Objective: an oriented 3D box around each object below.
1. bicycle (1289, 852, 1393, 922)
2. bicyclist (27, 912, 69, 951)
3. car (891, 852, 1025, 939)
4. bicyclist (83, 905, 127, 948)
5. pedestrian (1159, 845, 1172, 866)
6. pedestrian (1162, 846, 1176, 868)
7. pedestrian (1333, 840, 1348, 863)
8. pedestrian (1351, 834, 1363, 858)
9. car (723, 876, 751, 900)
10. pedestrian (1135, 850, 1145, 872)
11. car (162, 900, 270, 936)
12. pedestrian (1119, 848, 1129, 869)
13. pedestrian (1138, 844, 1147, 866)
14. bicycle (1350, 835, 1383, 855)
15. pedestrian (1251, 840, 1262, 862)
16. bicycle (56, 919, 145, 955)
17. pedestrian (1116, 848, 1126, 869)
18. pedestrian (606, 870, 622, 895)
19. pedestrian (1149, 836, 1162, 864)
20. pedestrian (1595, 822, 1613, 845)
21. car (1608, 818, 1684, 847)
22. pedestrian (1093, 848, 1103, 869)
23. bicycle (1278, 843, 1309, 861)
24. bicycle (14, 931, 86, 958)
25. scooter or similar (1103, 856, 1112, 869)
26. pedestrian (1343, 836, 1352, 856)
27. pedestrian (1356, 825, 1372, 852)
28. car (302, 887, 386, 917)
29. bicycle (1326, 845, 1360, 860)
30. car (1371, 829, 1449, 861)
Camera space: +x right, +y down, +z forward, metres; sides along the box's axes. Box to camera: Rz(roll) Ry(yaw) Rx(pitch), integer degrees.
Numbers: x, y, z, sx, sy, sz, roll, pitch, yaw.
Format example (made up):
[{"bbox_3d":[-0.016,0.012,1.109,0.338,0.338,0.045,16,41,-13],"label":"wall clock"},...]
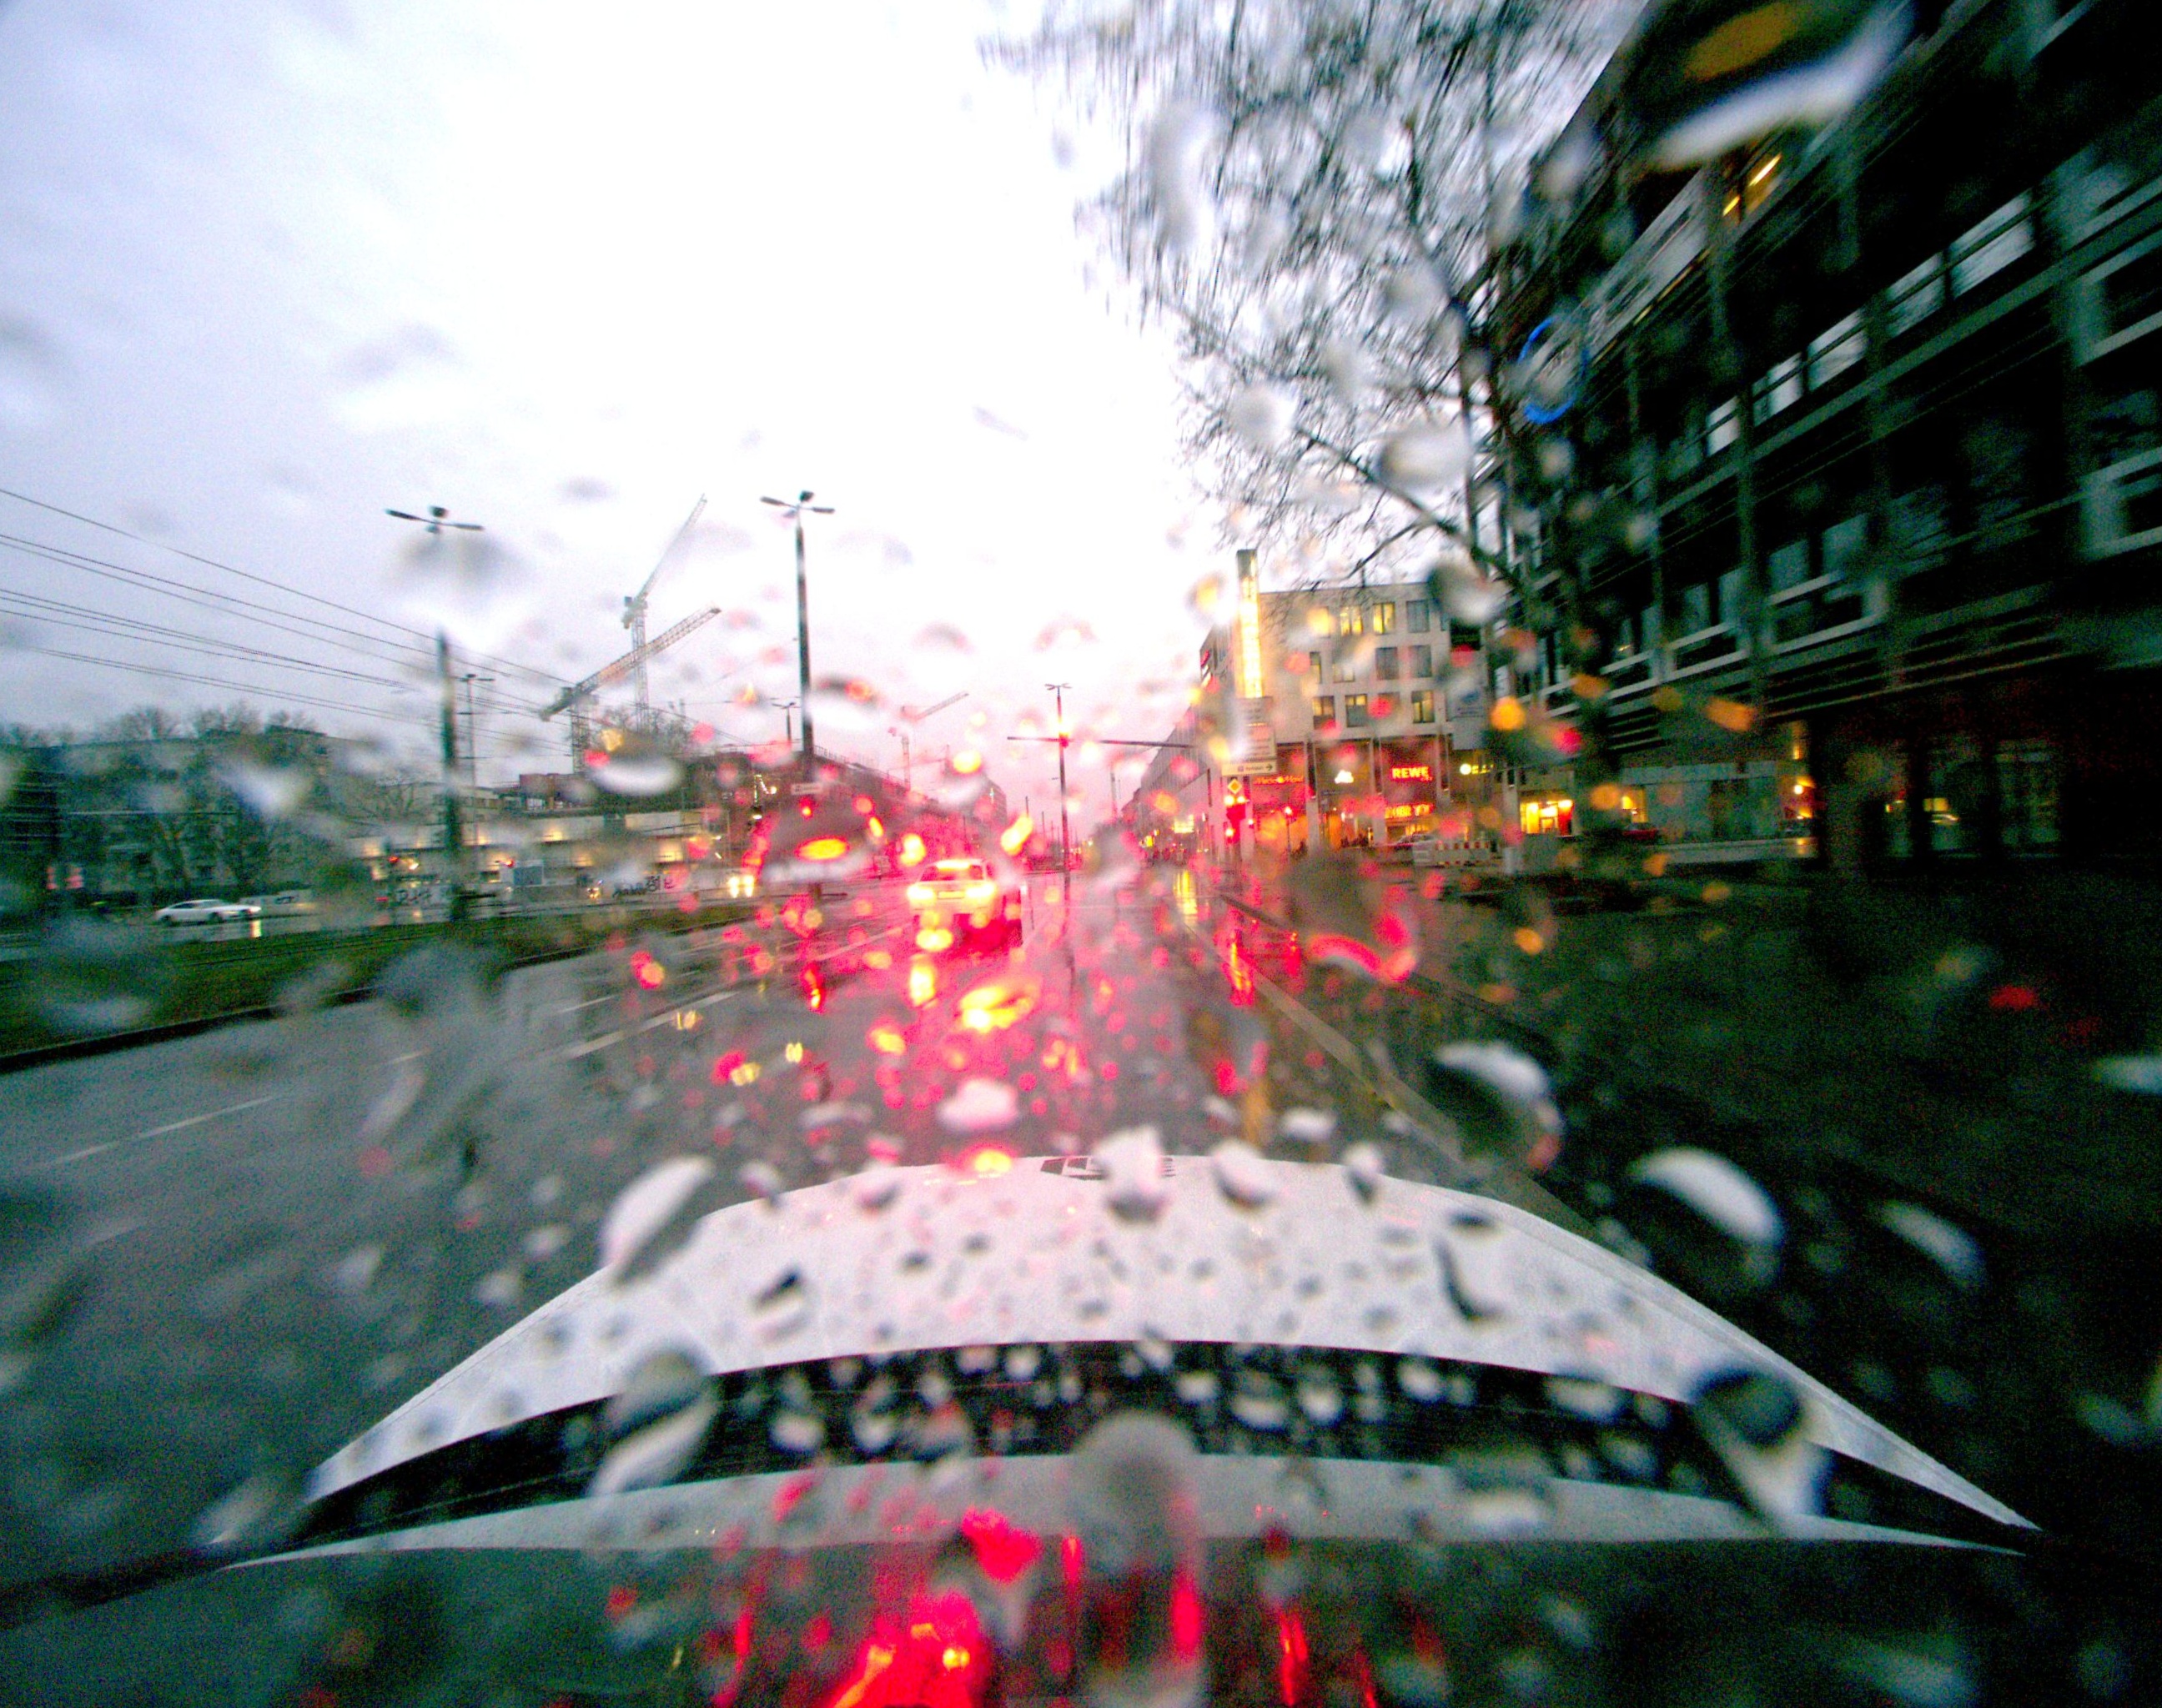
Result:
[{"bbox_3d":[4.901,0.615,15.396,1.746,1.148,0.435,-5,0,-2],"label":"bicycle"},{"bbox_3d":[-48.518,3.628,38.253,1.031,1.697,0.617,-3,0,-4],"label":"bicyclist"},{"bbox_3d":[-2.479,0.775,17.728,1.902,1.520,4.926,-3,0,2],"label":"car"},{"bbox_3d":[-44.727,3.317,37.345,0.992,1.839,0.719,-4,0,-6],"label":"bicyclist"},{"bbox_3d":[6.781,0.124,65.642,0.831,1.679,0.617,-3,0,-12],"label":"pedestrian"},{"bbox_3d":[7.185,0.233,66.345,0.844,1.688,0.674,-3,0,-14],"label":"pedestrian"},{"bbox_3d":[17.903,-0.168,56.144,0.811,1.570,0.537,-3,0,3],"label":"pedestrian"},{"bbox_3d":[20.301,-0.593,59.917,0.530,1.685,0.552,-3,0,41],"label":"pedestrian"},{"bbox_3d":[-31.887,3.098,75.597,1.759,2.013,3.979,-3,0,-15],"label":"car"},{"bbox_3d":[4.847,0.593,67.015,0.699,1.760,0.668,-3,0,3],"label":"pedestrian"},{"bbox_3d":[-50.221,3.692,47.347,3.974,1.684,2.000,-4,0,0],"label":"car"},{"bbox_3d":[3.347,0.356,63.338,0.704,1.619,0.613,-3,0,1],"label":"pedestrian"},{"bbox_3d":[4.899,0.081,64.976,0.617,1.746,0.612,-3,0,-2],"label":"pedestrian"},{"bbox_3d":[17.399,-0.541,49.654,1.830,1.093,0.620,-3,0,18],"label":"bicycle"},{"bbox_3d":[14.527,-0.220,67.348,0.700,1.760,0.653,-3,0,3],"label":"pedestrian"},{"bbox_3d":[-44.935,3.796,37.343,2.827,1.362,0.719,-4,0,-6],"label":"bicycle"},{"bbox_3d":[3.202,0.352,64.823,0.703,1.619,0.681,-3,0,4],"label":"pedestrian"},{"bbox_3d":[-37.998,2.311,66.241,0.791,2.013,0.746,-3,1,-6],"label":"pedestrian"},{"bbox_3d":[5.769,-0.308,62.973,0.691,2.087,0.606,-3,0,-37],"label":"pedestrian"},{"bbox_3d":[37.891,-1.508,58.977,0.791,1.631,0.710,-2,-1,3],"label":"pedestrian"},{"bbox_3d":[35.597,-1.358,51.379,3.556,1.582,1.677,-4,-1,1],"label":"car"},{"bbox_3d":[1.392,0.394,66.242,0.738,1.667,0.401,-3,0,2],"label":"pedestrian"},{"bbox_3d":[17.779,-0.186,68.170,2.418,1.329,0.634,-3,0,-1],"label":"bicycle"},{"bbox_3d":[-48.408,4.247,38.240,2.368,1.033,0.617,-3,0,-4],"label":"bicycle"},{"bbox_3d":[2.151,0.678,66.210,0.738,0.993,0.401,-3,0,2],"label":"scooter or similar"},{"bbox_3d":[23.153,-0.723,70.689,0.530,1.717,0.505,-3,0,41],"label":"pedestrian"},{"bbox_3d":[17.259,-0.954,49.673,0.774,1.595,0.616,-3,0,18],"label":"pedestrian"},{"bbox_3d":[-52.461,3.394,58.052,3.978,1.750,1.998,-3,0,-3],"label":"car"},{"bbox_3d":[18.066,-0.083,56.138,2.120,0.991,0.542,-2,-1,2],"label":"bicycle"},{"bbox_3d":[21.010,-0.590,52.159,4.281,1.761,1.710,-3,0,6],"label":"car"}]
